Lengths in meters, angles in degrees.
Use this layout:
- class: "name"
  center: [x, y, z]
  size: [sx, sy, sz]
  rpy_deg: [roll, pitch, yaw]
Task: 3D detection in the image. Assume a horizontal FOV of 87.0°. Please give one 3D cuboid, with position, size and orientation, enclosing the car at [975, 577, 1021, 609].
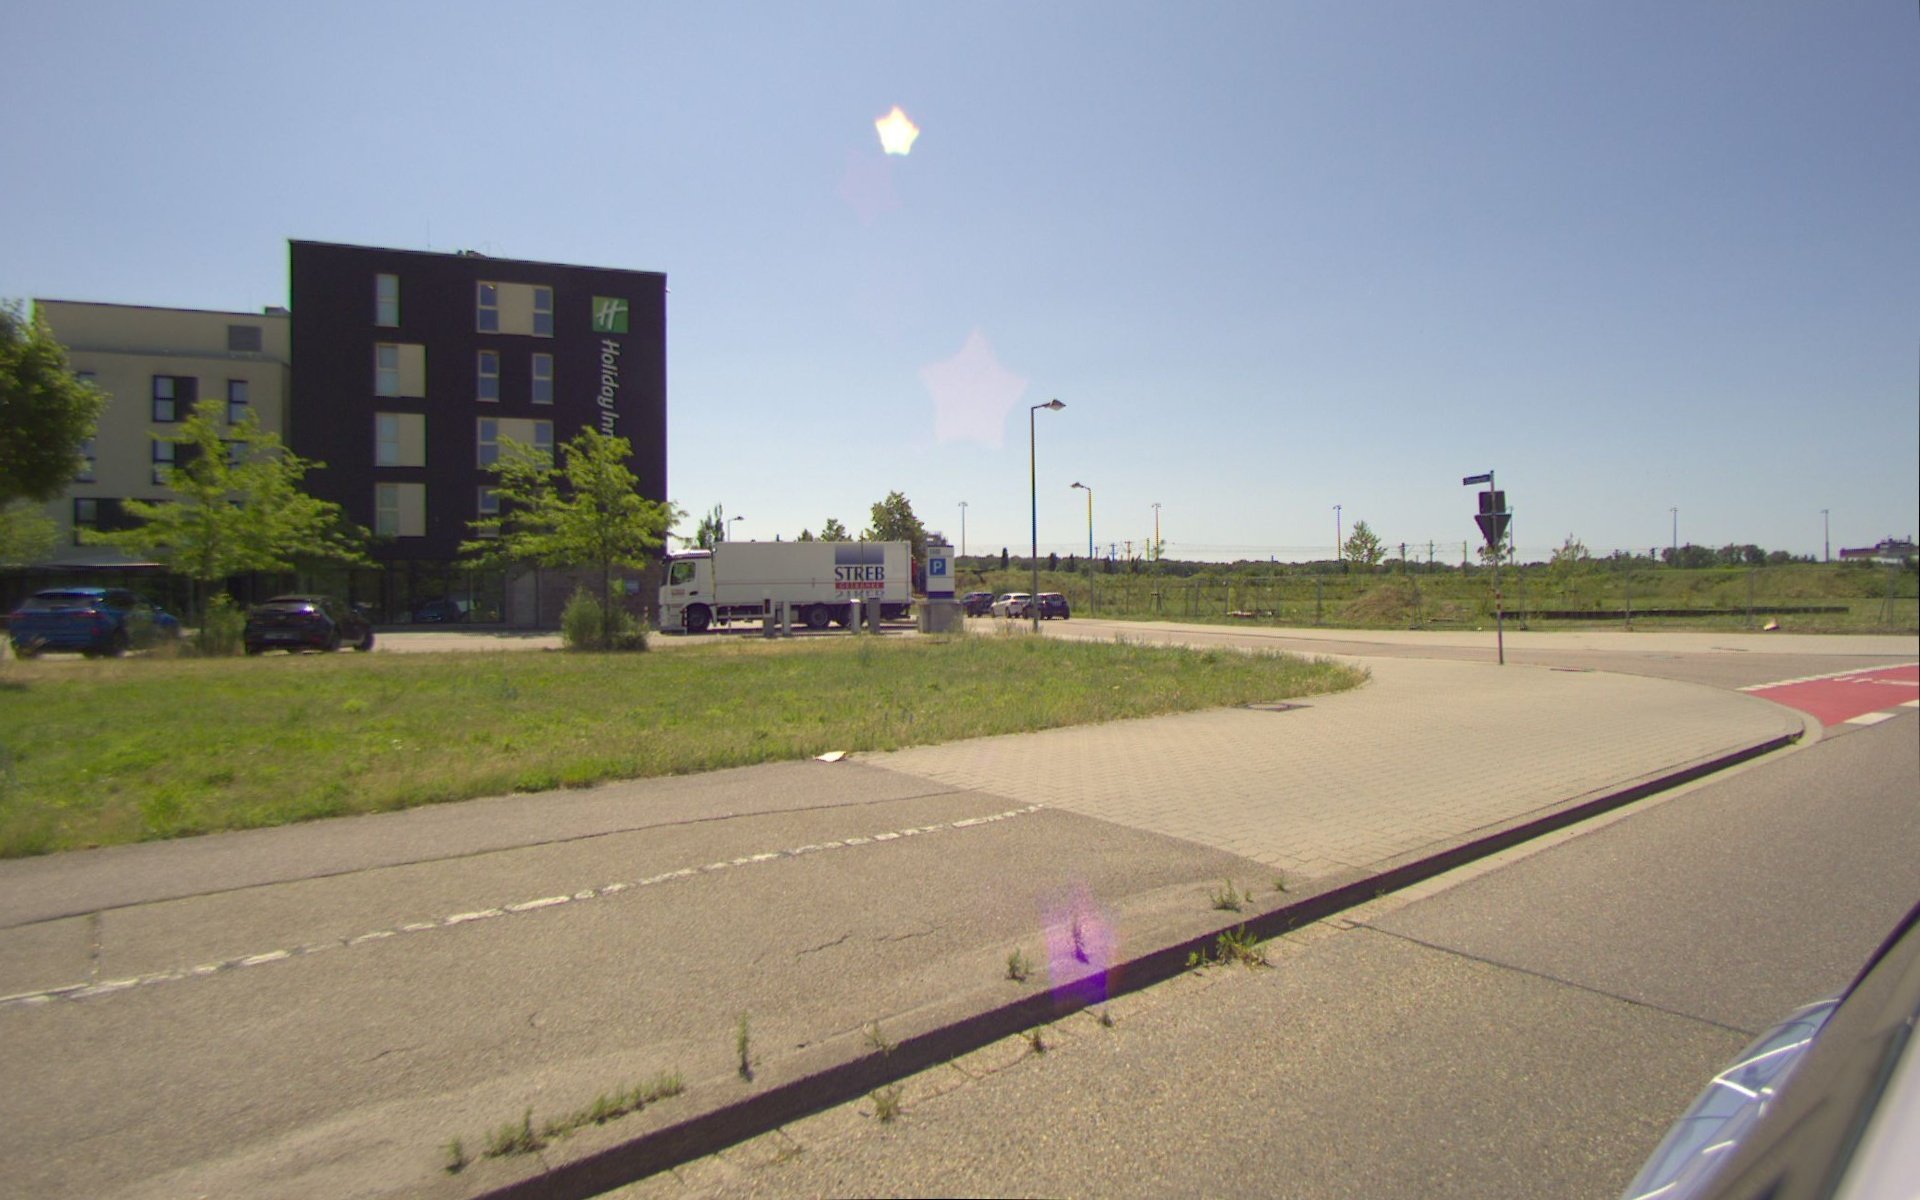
- class: "car"
  center: [2.556, -0.442, 69.153]
  size: [1.841, 2.039, 3.923]
  rpy_deg: [-1, -1, -17]

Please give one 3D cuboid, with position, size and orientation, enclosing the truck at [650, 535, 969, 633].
- class: "truck"
  center: [-5.802, -0.659, 39.383]
  size: [11.883, 3.504, 3.025]
  rpy_deg: [0, 1, -16]

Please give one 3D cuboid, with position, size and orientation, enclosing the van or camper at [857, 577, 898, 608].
- class: "van or camper"
  center: [-7.810, -0.742, 95.255]
  size: [2.511, 2.811, 6.439]
  rpy_deg: [0, 0, -17]

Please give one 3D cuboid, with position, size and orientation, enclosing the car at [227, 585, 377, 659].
- class: "car"
  center: [-15.713, 0.466, 24.458]
  size: [1.989, 1.581, 4.517]
  rpy_deg: [0, 0, -19]

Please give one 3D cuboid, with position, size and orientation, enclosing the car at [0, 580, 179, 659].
- class: "car"
  center: [-20.211, 0.403, 23.599]
  size: [1.913, 1.673, 4.079]
  rpy_deg: [0, 0, -18]

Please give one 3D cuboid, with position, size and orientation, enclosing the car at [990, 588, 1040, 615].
- class: "car"
  center: [3.218, 0.090, 59.988]
  size: [1.712, 1.577, 4.053]
  rpy_deg: [0, 0, -17]

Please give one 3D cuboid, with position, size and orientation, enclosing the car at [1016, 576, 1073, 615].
- class: "car"
  center: [4.542, -0.261, 54.884]
  size: [1.841, 2.039, 3.924]
  rpy_deg: [0, 0, -14]
